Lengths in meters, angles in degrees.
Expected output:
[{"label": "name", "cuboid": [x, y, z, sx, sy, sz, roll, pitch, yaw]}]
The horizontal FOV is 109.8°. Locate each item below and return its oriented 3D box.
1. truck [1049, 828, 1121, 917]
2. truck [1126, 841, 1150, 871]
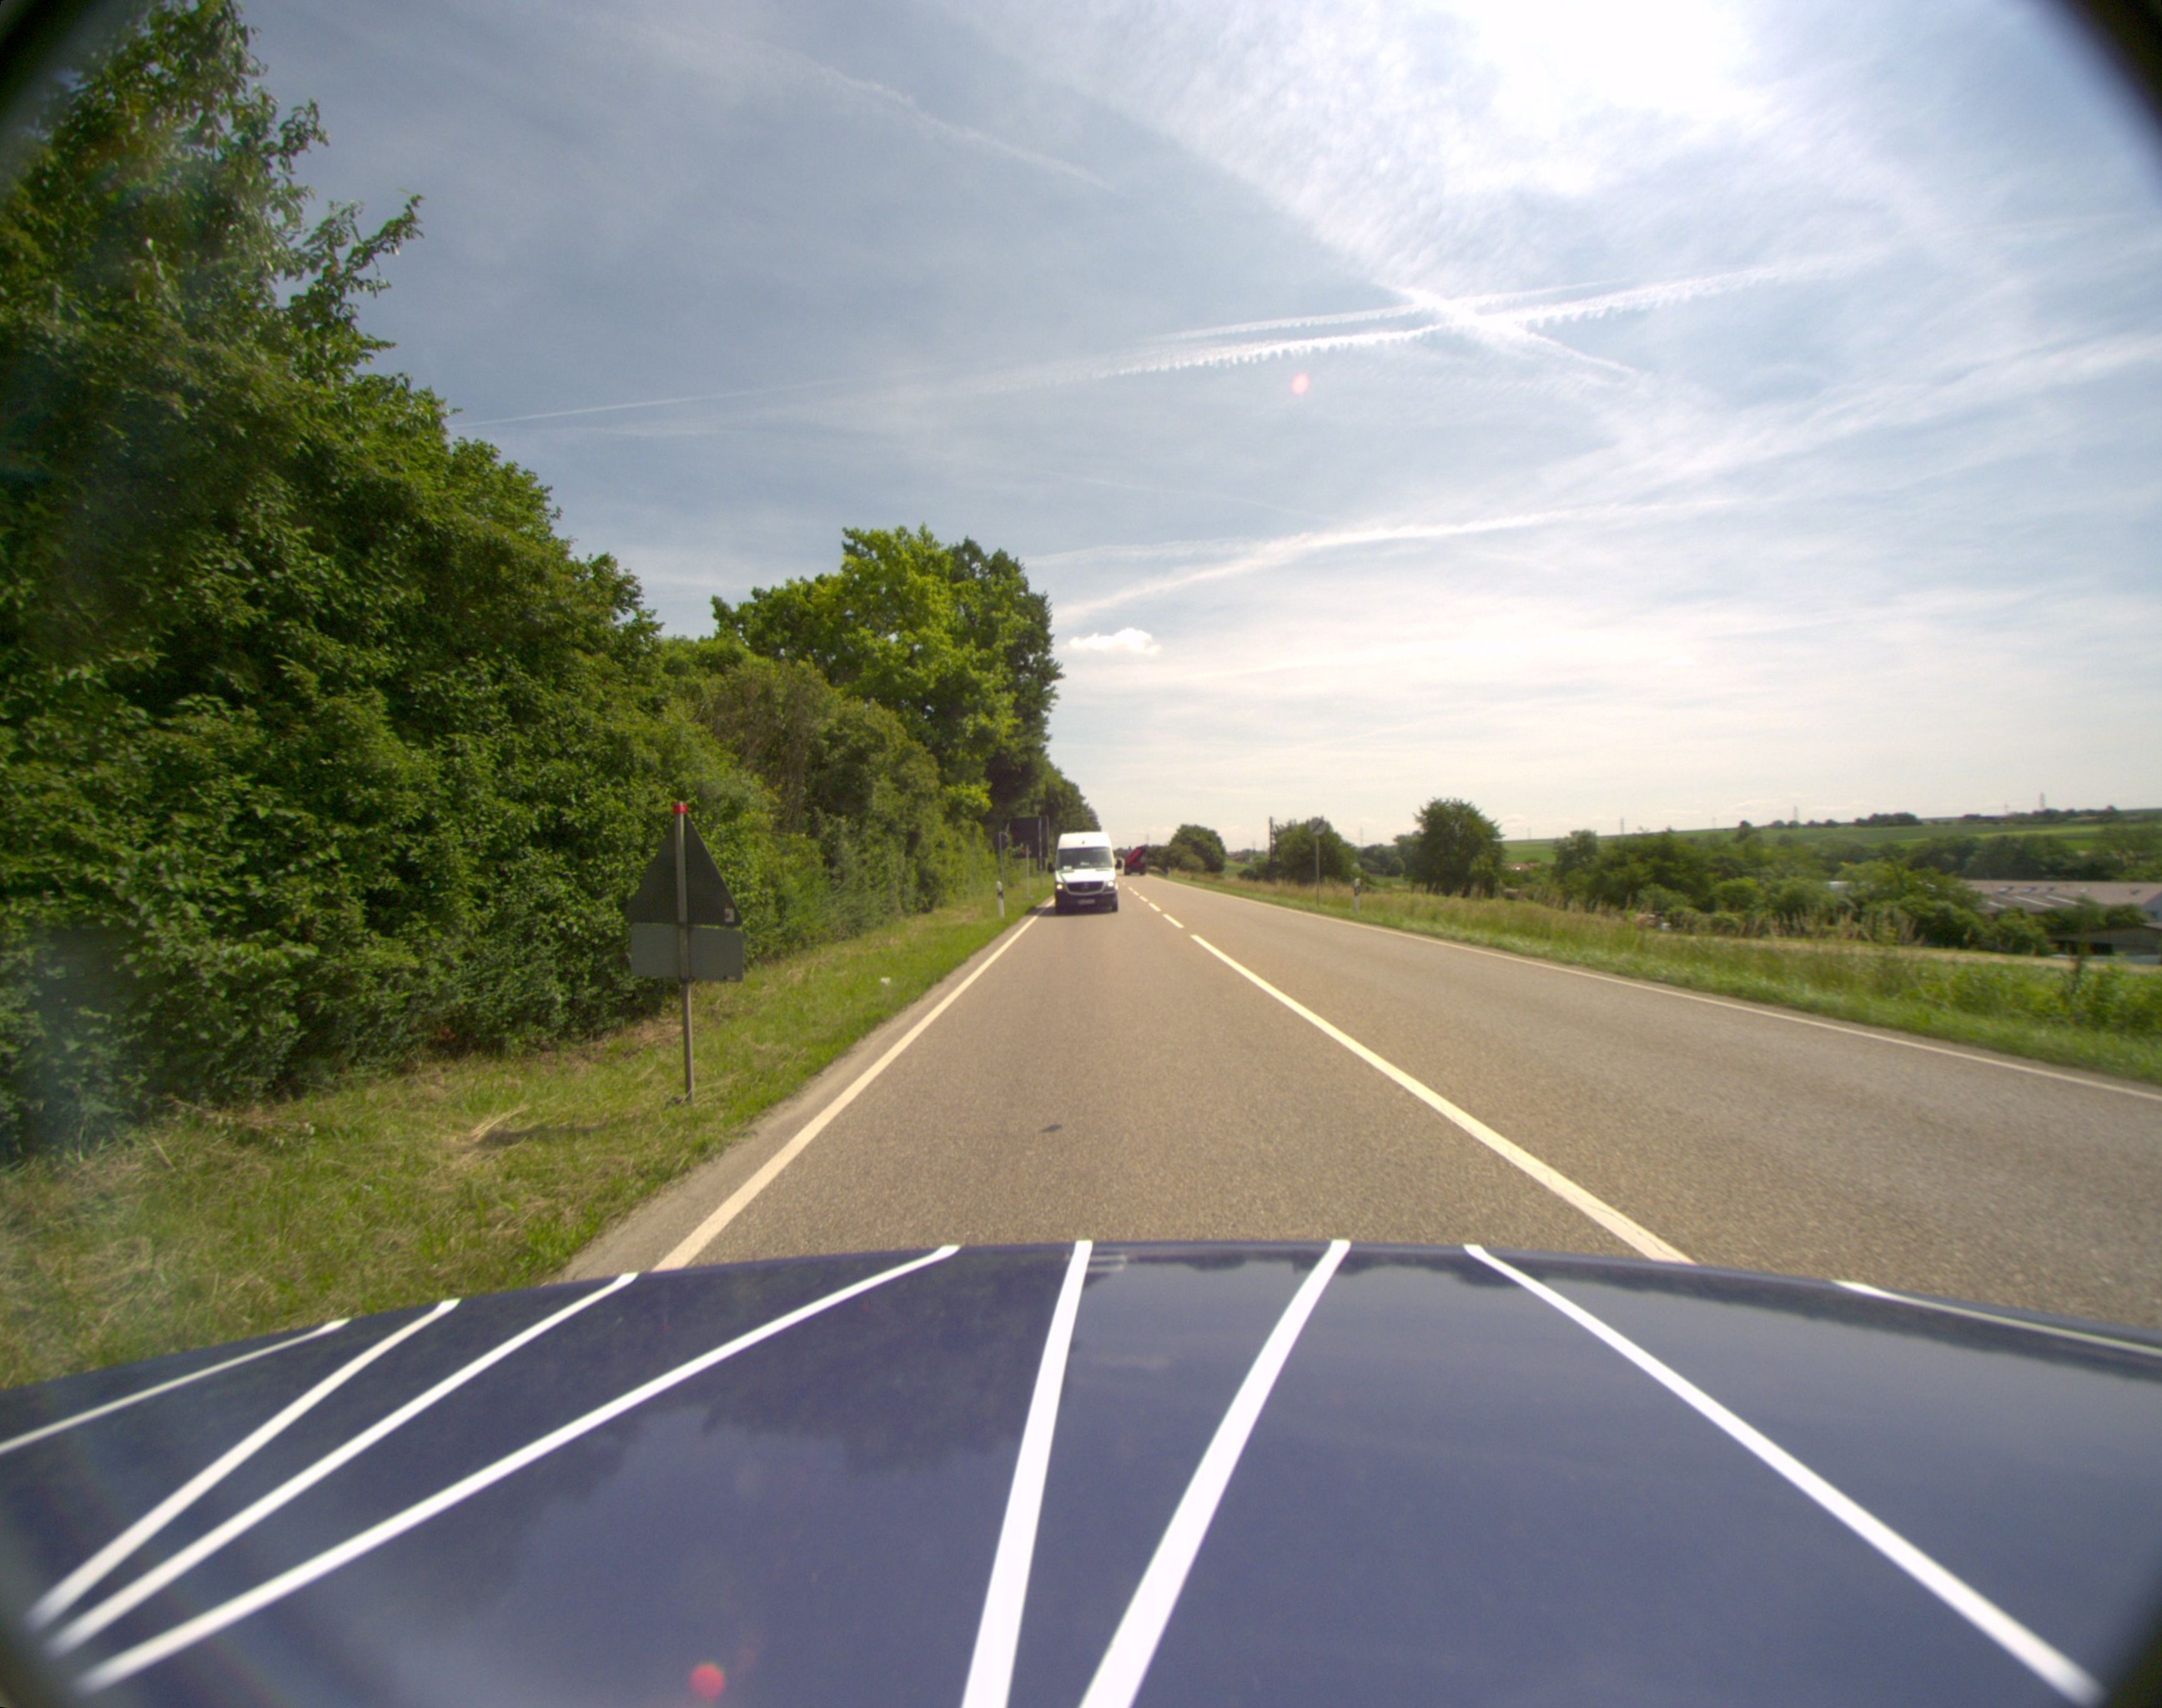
[{"label": "truck", "cuboid": [0.309, 0.554, 26.383, 2.022, 2.567, 7.227, -3, 0, 3]}, {"label": "truck", "cuboid": [6.993, 0.306, 94.597, 2.762, 3.555, 11.068, 1, -1, 3]}]
